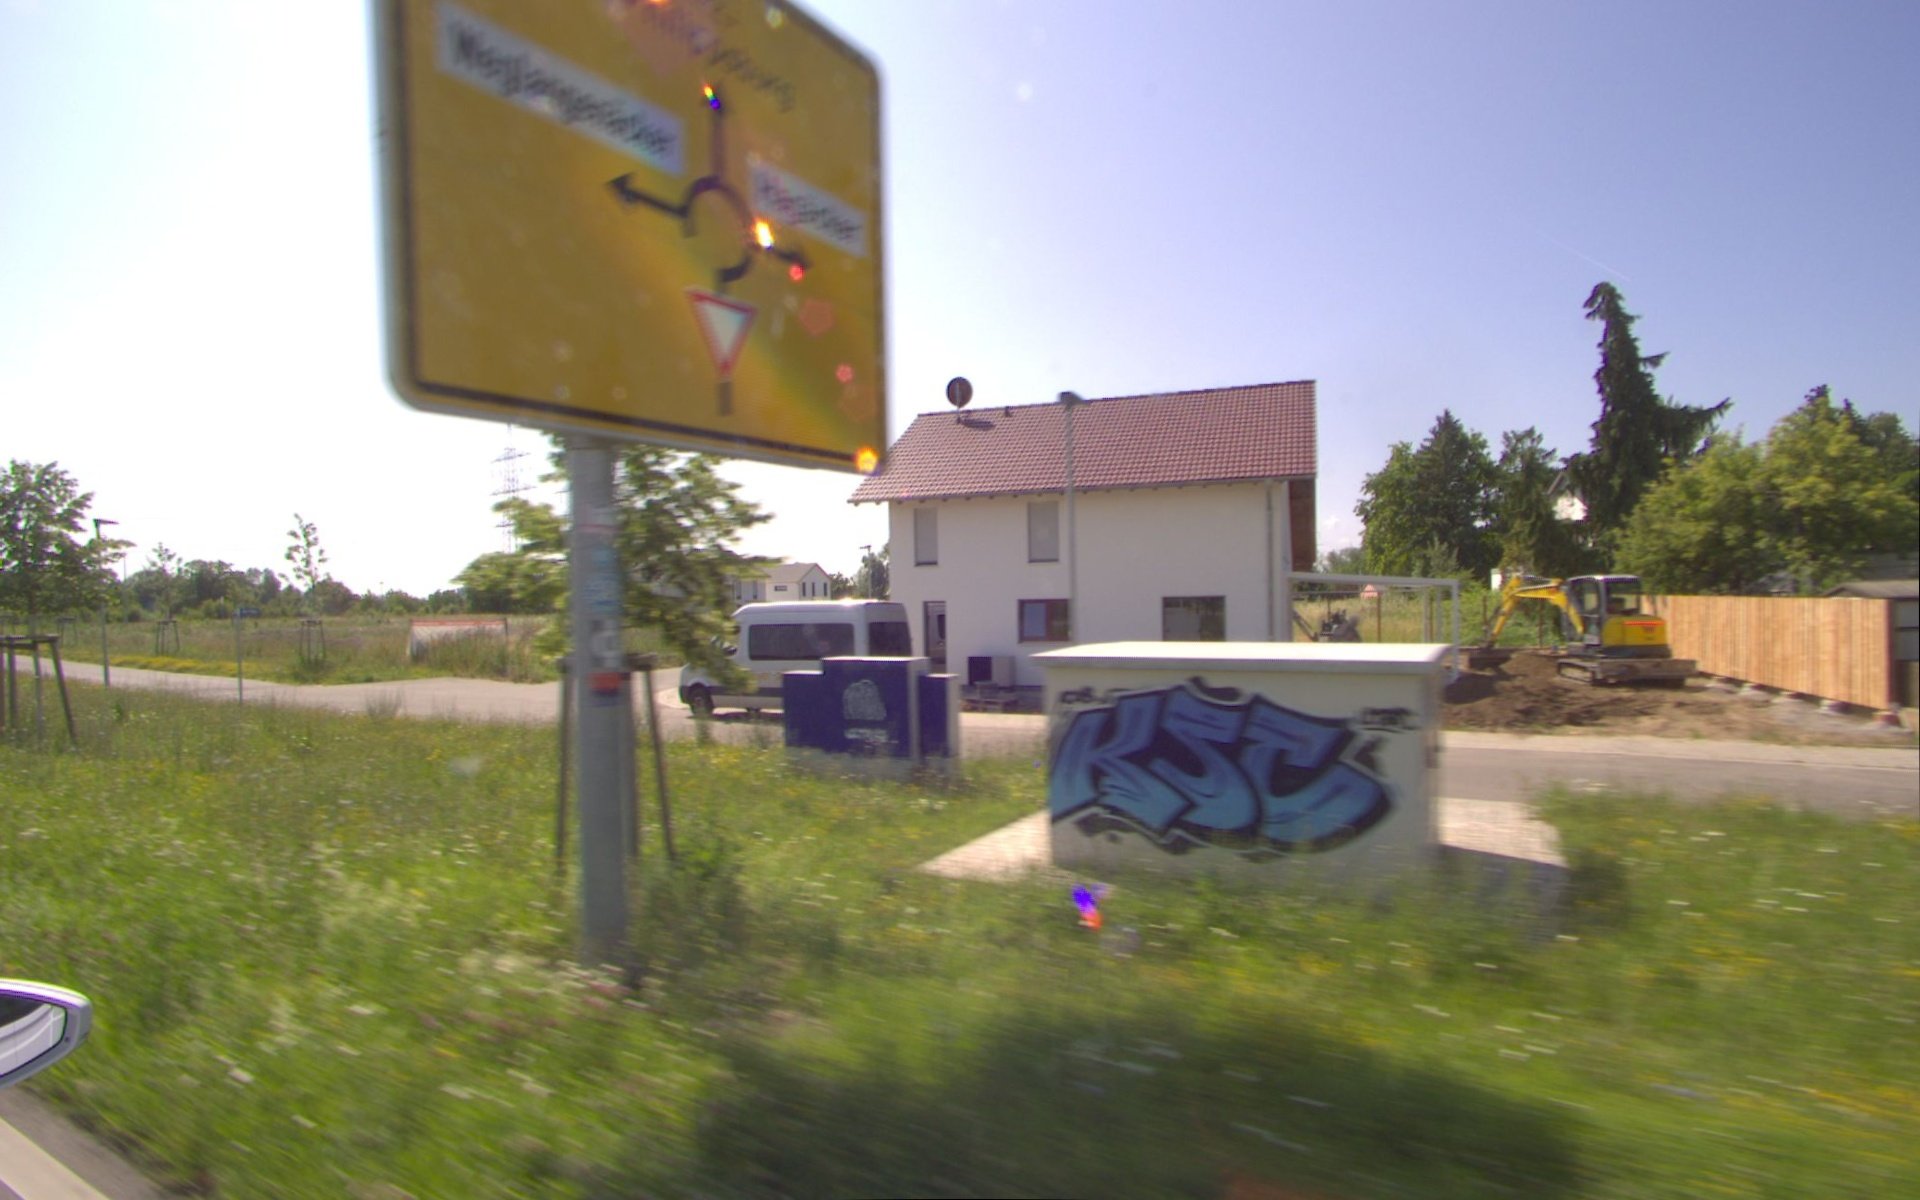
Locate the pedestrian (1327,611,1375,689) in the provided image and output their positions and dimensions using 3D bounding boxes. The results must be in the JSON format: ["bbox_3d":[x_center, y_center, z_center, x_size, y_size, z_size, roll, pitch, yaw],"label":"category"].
[{"bbox_3d":[9.052,1.138,23.173,0.704,1.688,0.712,-5,4,-29],"label":"pedestrian"}]

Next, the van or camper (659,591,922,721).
[{"bbox_3d":[-3.951,1.214,22.844,5.943,2.634,2.168,-1,-1,32],"label":"van or camper"}]

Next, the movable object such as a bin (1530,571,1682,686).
[{"bbox_3d":[15.424,0.648,24.082,1.752,2.591,2.878,0,0,-1],"label":"movable object such as a bin"}]
